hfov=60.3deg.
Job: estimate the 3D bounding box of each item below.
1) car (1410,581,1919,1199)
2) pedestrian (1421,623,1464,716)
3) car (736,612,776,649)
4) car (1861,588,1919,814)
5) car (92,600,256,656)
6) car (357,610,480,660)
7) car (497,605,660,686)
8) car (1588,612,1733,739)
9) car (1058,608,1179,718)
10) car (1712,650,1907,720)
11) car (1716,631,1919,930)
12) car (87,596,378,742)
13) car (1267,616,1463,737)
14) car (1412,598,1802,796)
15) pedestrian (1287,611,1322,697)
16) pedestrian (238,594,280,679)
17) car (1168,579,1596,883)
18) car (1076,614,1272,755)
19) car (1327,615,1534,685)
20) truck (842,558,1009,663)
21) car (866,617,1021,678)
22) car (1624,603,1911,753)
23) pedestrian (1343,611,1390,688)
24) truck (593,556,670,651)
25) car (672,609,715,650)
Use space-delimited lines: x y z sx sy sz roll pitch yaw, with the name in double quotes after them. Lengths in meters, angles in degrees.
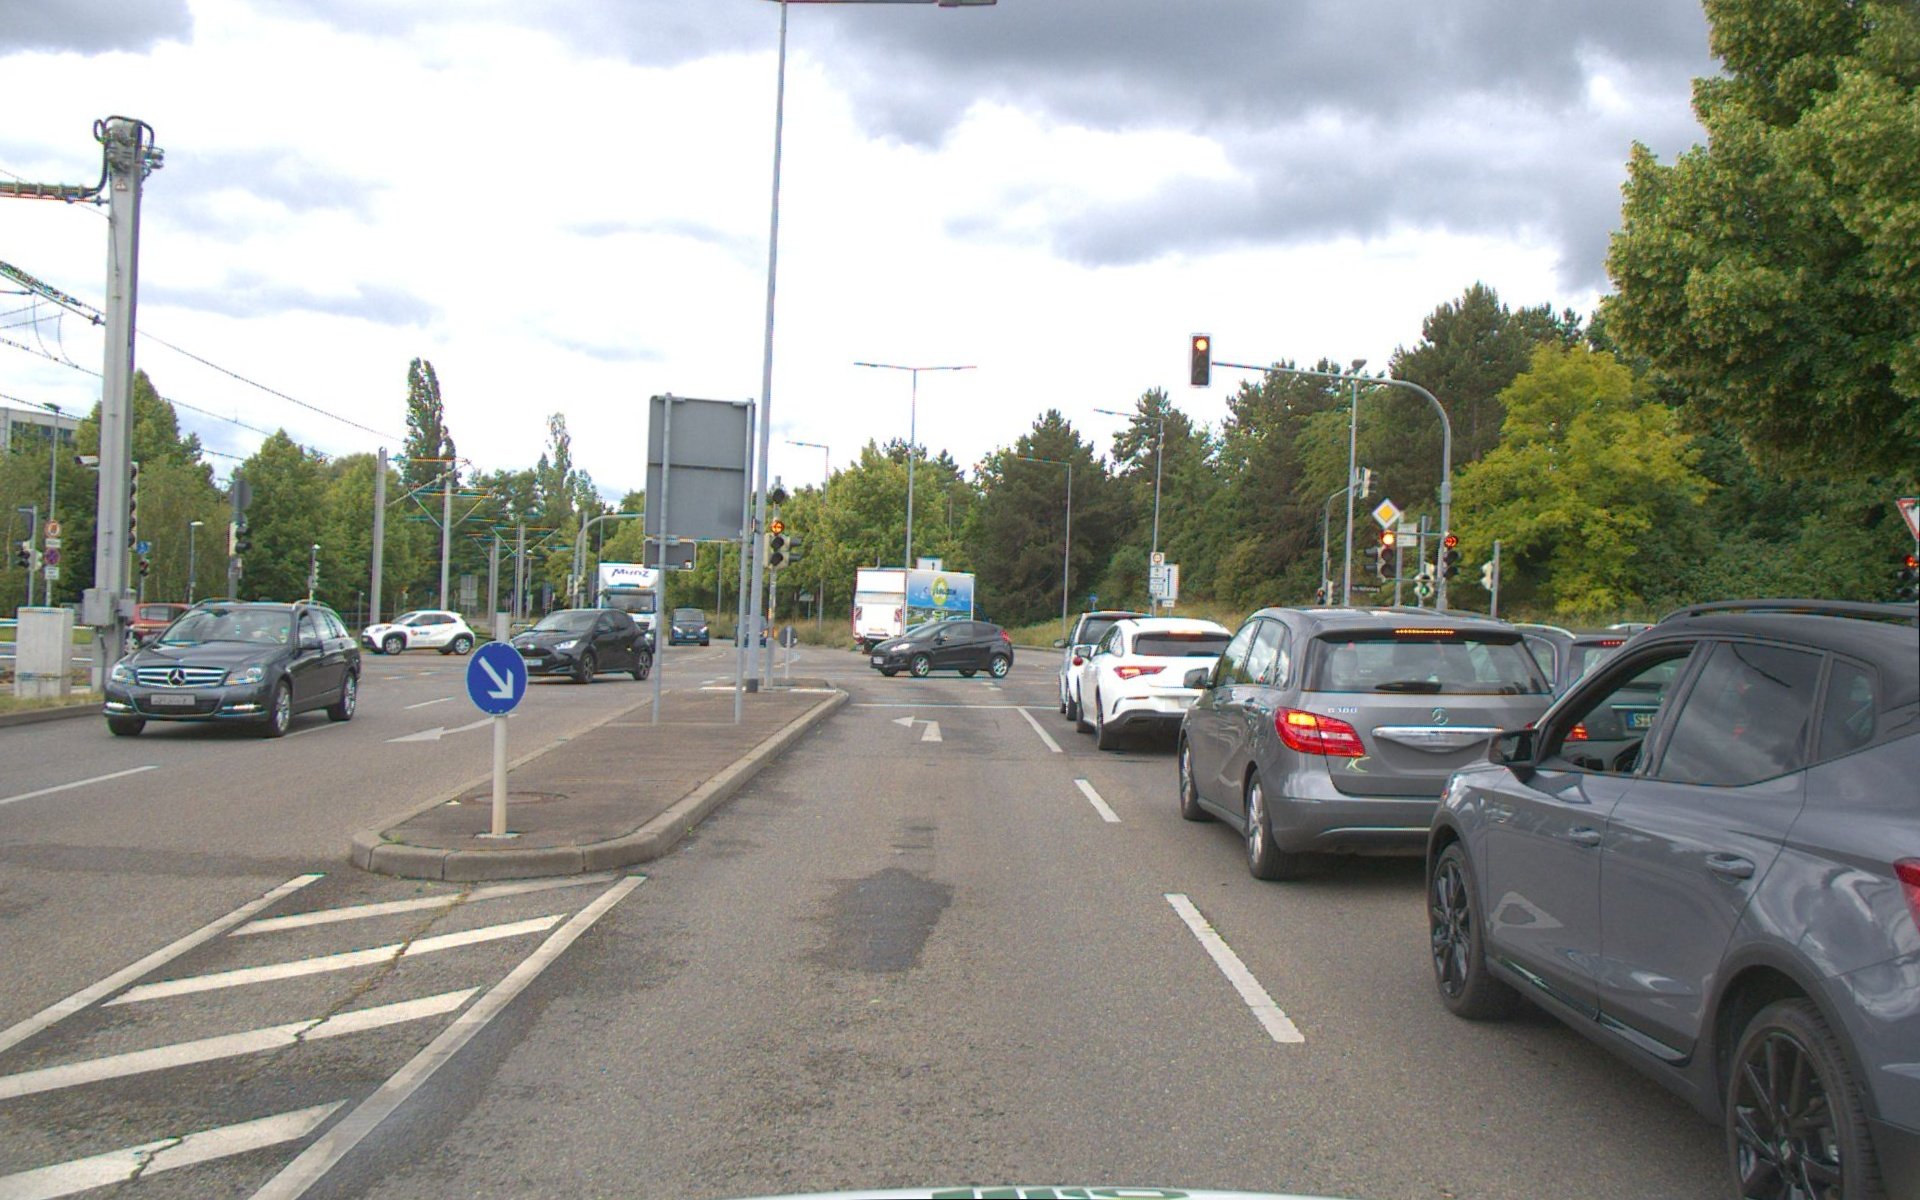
2.676 0.734 4.866 1.663 1.512 4.000 1 0 1 "car"
7.789 1.116 26.694 0.598 1.479 0.354 1 -1 8 "pedestrian"
-10.322 1.536 83.479 1.880 1.603 3.993 0 2 -9 "car"
8.670 0.828 12.033 1.788 1.835 4.506 1 0 0 "car"
-22.812 0.836 48.102 3.912 1.543 1.729 1 -2 -9 "car"
-18.843 1.193 57.646 3.715 1.534 1.754 -1 3 -43 "car"
-7.753 0.881 33.972 1.560 1.522 3.942 0 0 15 "car"
10.450 1.061 24.912 1.667 1.666 4.245 3 0 19 "car"
2.315 0.904 24.617 1.504 1.531 2.669 1 -1 -1 "car"
23.936 2.378 46.728 4.397 1.487 2.001 5 -1 8 "car"
5.402 0.873 7.760 1.775 1.378 4.117 1 0 -1 "car"
-8.182 0.699 19.066 1.658 1.464 4.541 1 0 -5 "car"
5.210 0.942 21.756 1.514 1.428 3.998 1 -1 -1 "car"
5.427 0.750 14.499 1.788 1.460 4.212 1 -1 0 "car"
6.774 1.052 32.540 0.598 1.662 0.614 1 -1 8 "pedestrian"
-13.358 0.685 31.522 0.347 1.583 0.651 2 2 33 "pedestrian"
2.433 0.665 10.596 1.762 1.550 4.188 0 0 1 "car"
2.380 0.901 19.407 1.686 1.446 4.356 1 -1 -1 "car"
13.089 1.370 46.287 5.304 1.847 2.001 1 0 5 "car"
-1.163 0.454 62.001 2.635 3.661 7.244 2 -1 32 "truck"
-0.408 1.202 42.838 3.728 1.506 1.622 1 0 -32 "car"
8.709 0.773 18.168 1.482 1.462 3.642 0 0 2 "car"
8.543 1.030 34.780 0.846 1.588 0.518 1 0 -2 "pedestrian"
-13.920 0.194 70.717 2.610 3.713 9.484 2 -1 -8 "truck"
-13.603 1.475 84.486 1.879 1.757 3.997 1 4 -6 "car"
